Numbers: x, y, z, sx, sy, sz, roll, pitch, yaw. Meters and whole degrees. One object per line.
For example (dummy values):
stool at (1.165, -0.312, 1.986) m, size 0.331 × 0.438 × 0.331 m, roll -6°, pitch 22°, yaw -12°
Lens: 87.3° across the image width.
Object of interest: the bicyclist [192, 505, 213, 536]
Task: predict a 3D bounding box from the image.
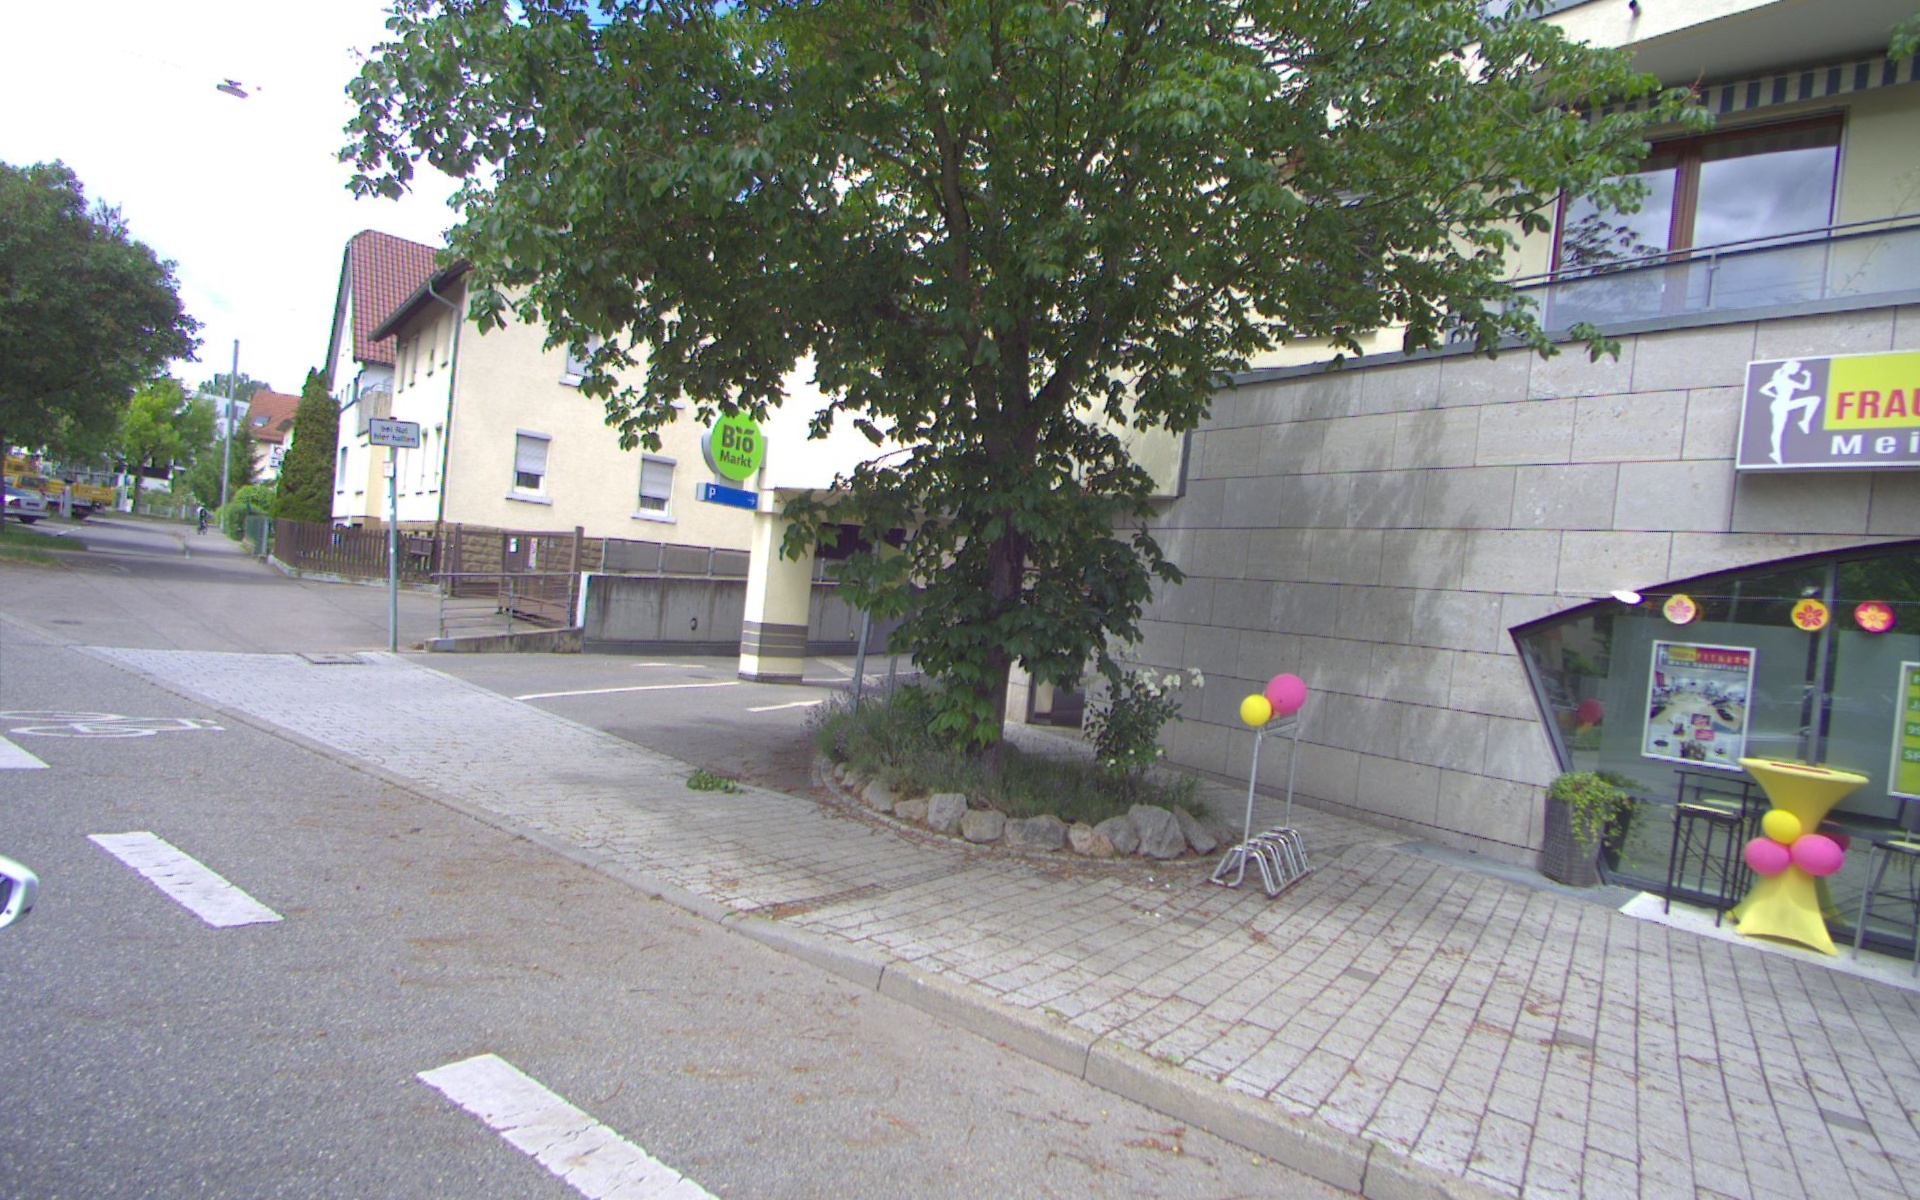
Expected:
bicyclist at (-40.800, -4.292, 54.184) m, size 0.557 × 1.577 × 0.590 m, roll 6°, pitch -1°, yaw 31°

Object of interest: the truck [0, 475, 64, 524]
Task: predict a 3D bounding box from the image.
truck at (-49.464, -5.372, 51.181) m, size 5.575 × 2.036 × 2.001 m, roll 8°, pitch -2°, yaw -3°

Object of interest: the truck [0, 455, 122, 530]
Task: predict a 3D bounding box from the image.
truck at (-49.580, -5.879, 53.910) m, size 6.585 × 3.042 × 2.771 m, roll 8°, pitch -2°, yaw -2°

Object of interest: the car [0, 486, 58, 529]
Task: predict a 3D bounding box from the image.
car at (-39.247, -3.945, 40.226) m, size 4.603 × 1.469 × 1.768 m, roll 8°, pitch 0°, yaw 0°

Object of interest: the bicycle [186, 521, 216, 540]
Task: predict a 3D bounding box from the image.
bicycle at (-40.867, -3.738, 54.165) m, size 1.725 × 0.821 × 0.595 m, roll 6°, pitch -2°, yaw 31°
